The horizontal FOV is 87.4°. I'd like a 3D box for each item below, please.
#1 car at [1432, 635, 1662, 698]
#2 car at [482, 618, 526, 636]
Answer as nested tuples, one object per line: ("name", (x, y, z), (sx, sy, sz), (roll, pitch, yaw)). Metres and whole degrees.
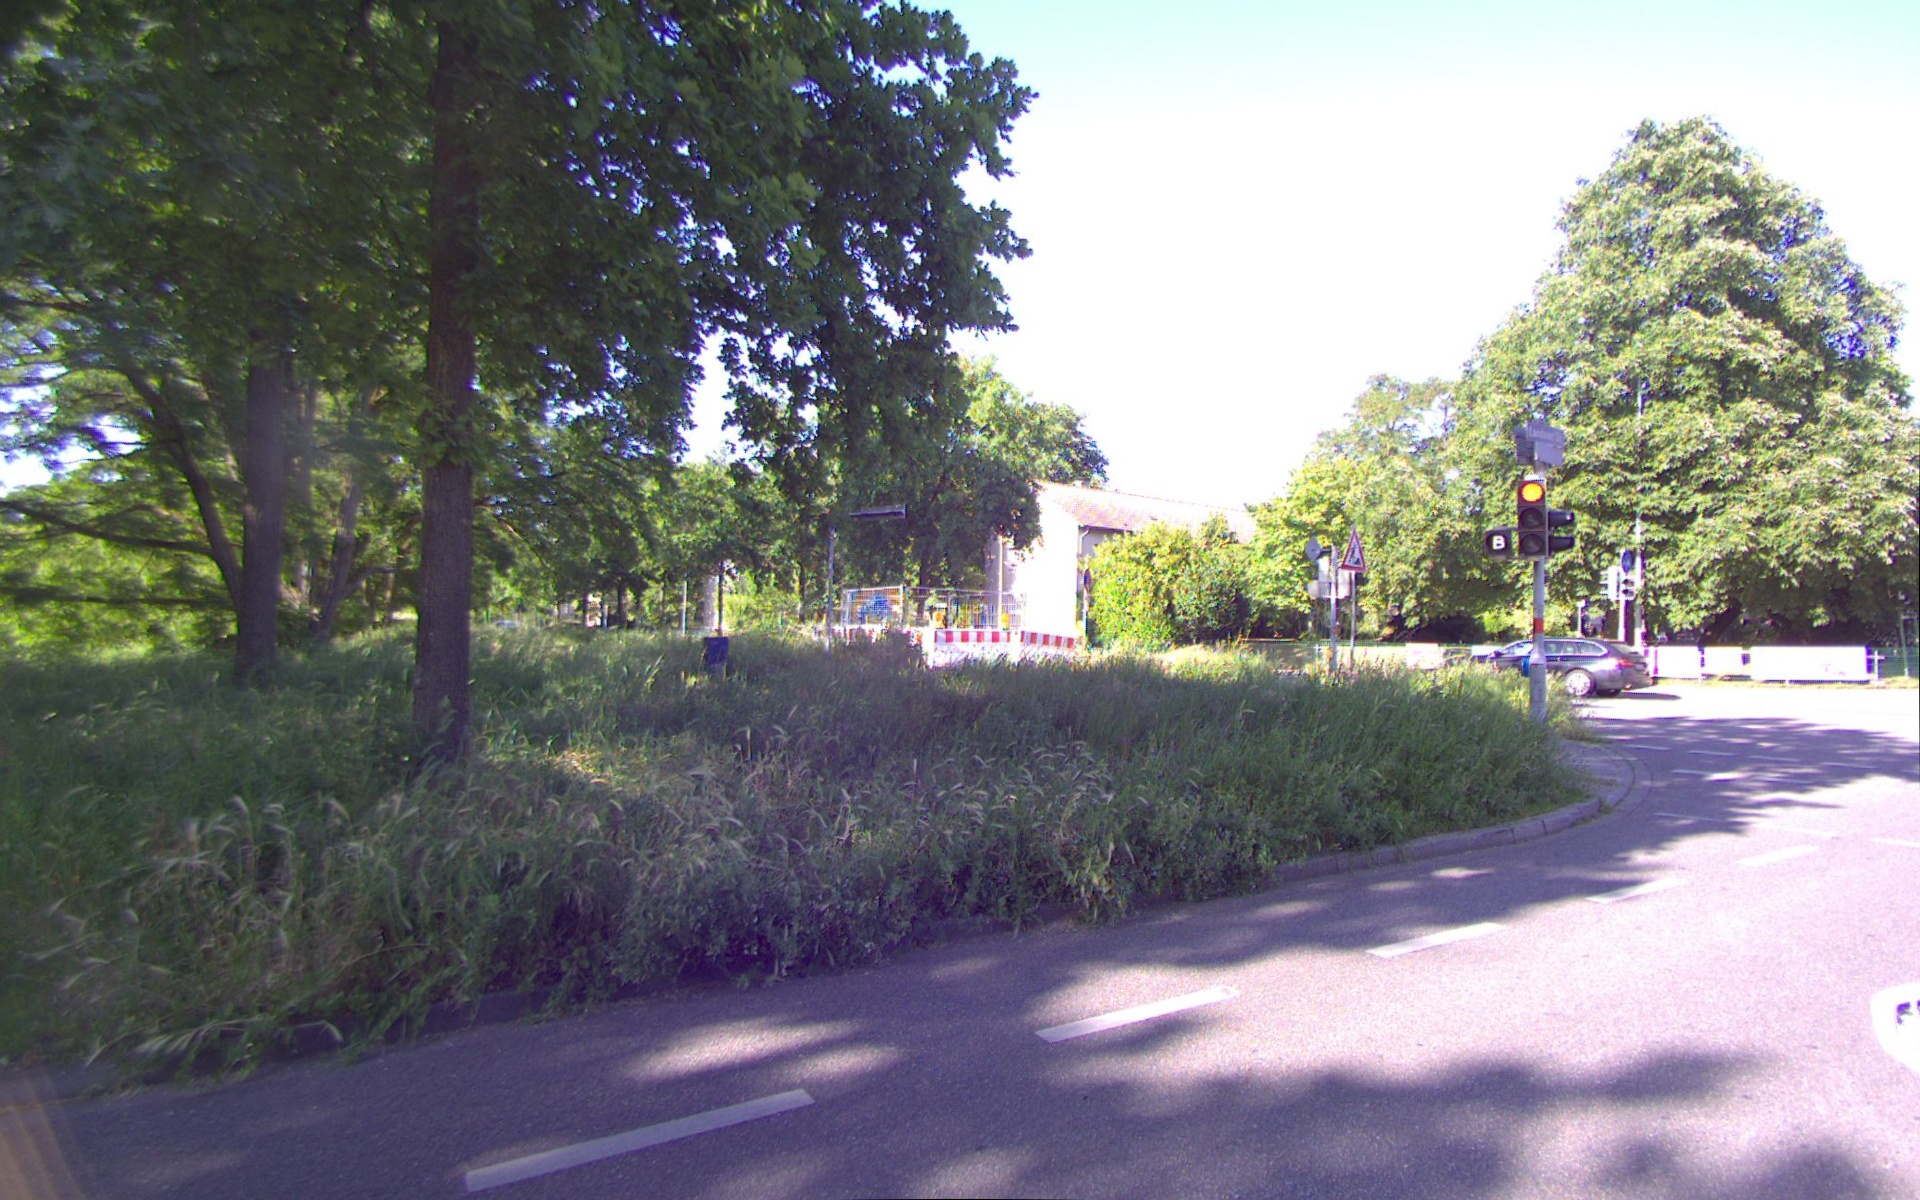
("car", (14.870, 1.624, 25.672), (1.983, 1.449, 4.691), (2, -3, -39))
("car", (-47.391, 2.846, 104.480), (3.939, 1.673, 1.991), (2, 0, -20))
